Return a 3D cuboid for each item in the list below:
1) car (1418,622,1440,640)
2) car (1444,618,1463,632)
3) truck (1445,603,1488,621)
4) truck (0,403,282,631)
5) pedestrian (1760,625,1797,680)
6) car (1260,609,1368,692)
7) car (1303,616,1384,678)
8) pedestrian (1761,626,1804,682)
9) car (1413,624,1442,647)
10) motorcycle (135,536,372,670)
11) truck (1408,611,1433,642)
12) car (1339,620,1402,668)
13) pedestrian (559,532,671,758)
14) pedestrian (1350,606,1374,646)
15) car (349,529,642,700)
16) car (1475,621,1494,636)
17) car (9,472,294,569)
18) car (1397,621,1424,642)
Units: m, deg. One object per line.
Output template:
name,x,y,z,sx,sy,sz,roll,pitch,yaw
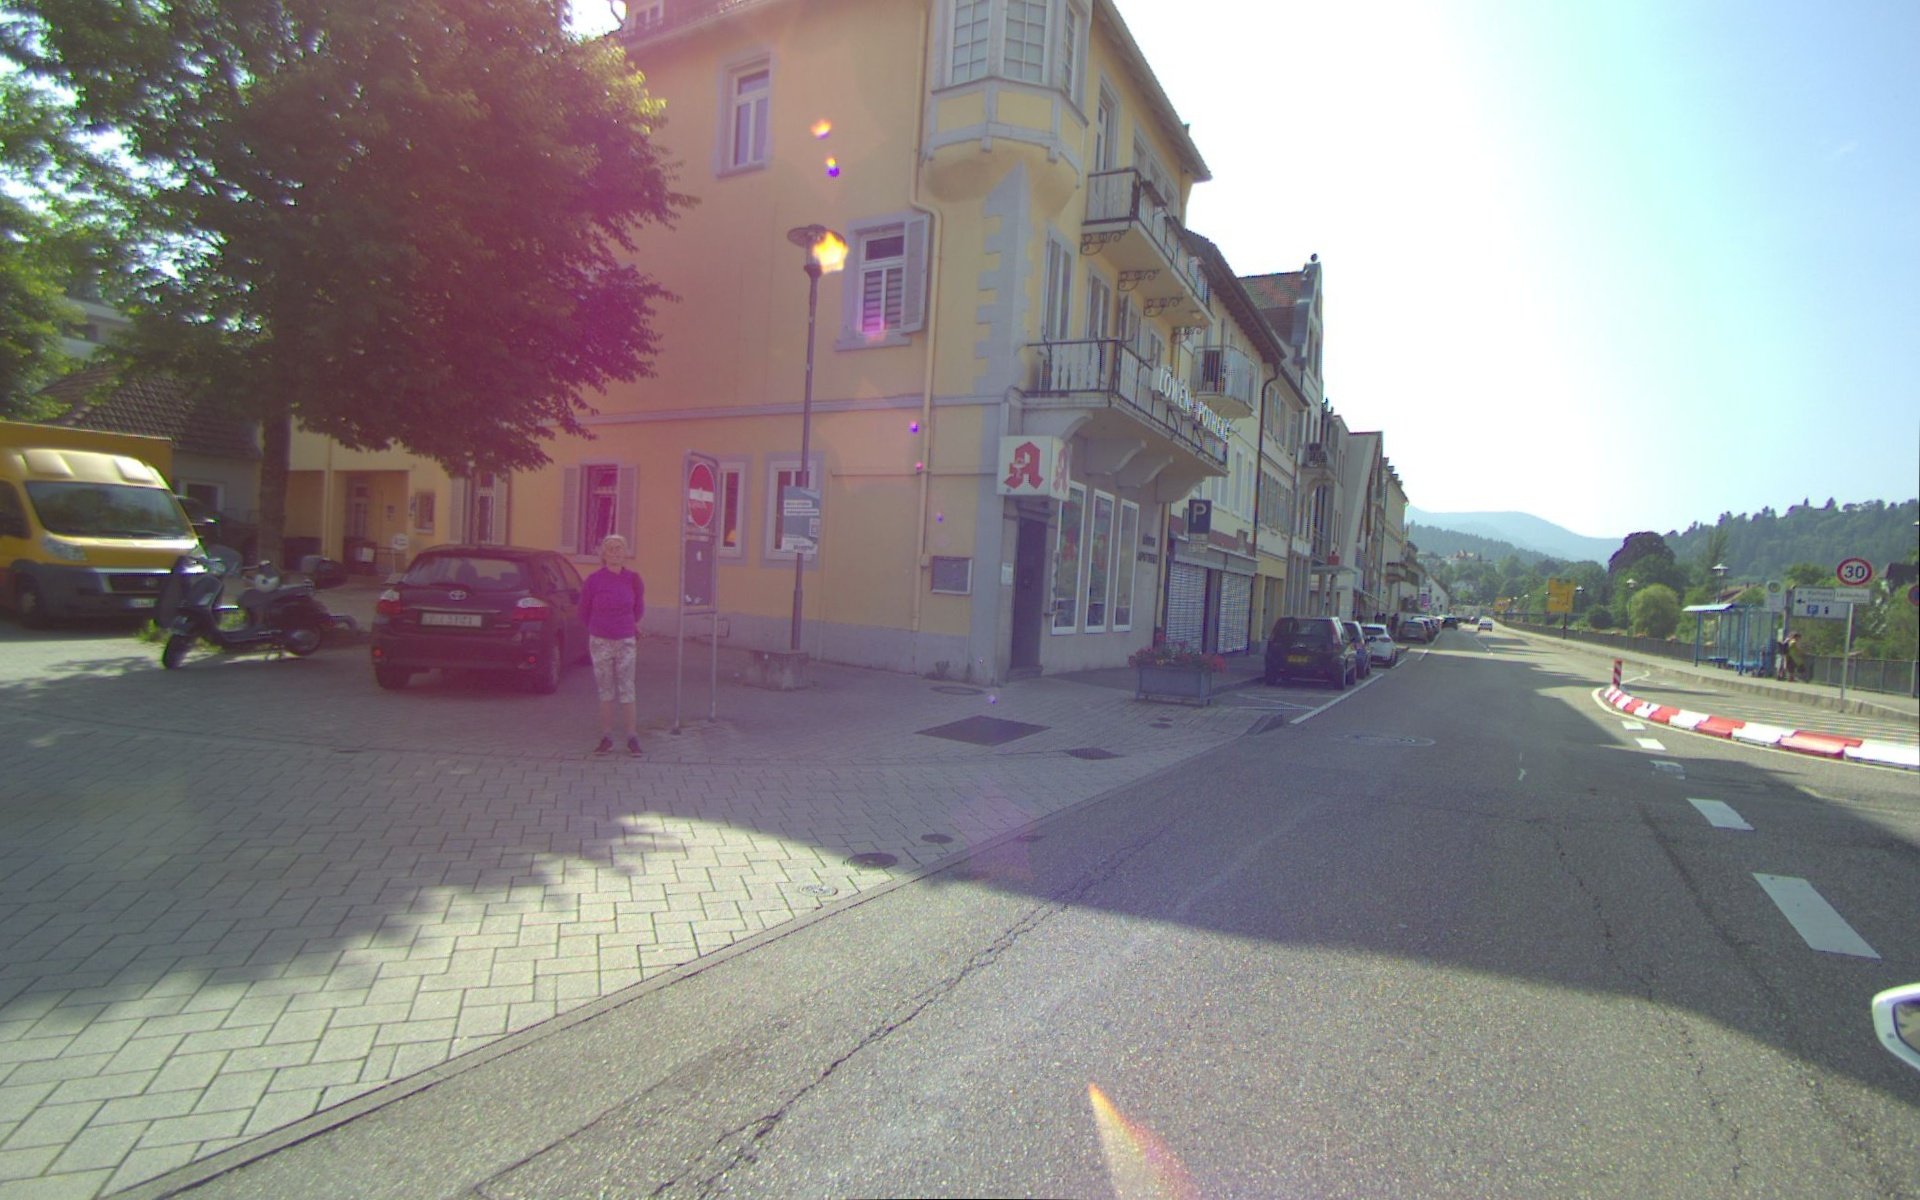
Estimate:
car,43.016,2.831,92.156,1.720,1.467,3.273,3,0,26
car,63.404,3.201,128.969,1.963,1.684,3.995,5,1,27
truck,103.102,2.393,204.425,9.096,3.307,3.056,3,1,-29
truck,-14.704,-1.361,15.673,8.698,2.795,3.006,5,3,27
pedestrian,27.051,1.733,33.198,0.777,1.728,0.491,4,1,29
car,7.890,1.046,22.213,1.818,1.589,3.564,3,0,26
car,10.386,1.204,27.103,1.720,1.467,3.273,3,0,26
pedestrian,26.726,1.734,32.643,0.854,1.728,0.776,4,1,29
car,33.356,2.505,71.623,1.720,1.467,3.273,3,0,26
motorcycle,-8.059,-0.011,11.590,0.871,1.379,2.085,4,3,26
truck,39.853,2.238,86.862,1.720,2.501,4.657,3,0,26
car,14.230,1.465,34.685,1.720,1.467,3.791,3,0,26
pedestrian,-2.796,0.344,8.132,0.673,1.737,0.612,2,2,-33
pedestrian,17.702,1.144,44.244,0.653,1.719,0.684,2,1,-35
car,-5.154,0.055,11.786,1.888,1.563,3.954,4,3,-6
car,66.402,3.645,127.225,1.963,1.684,3.995,5,1,27
car,-19.436,-1.842,24.485,1.962,1.916,5.070,3,1,23
car,29.855,2.086,66.521,1.539,1.236,3.273,3,0,26
